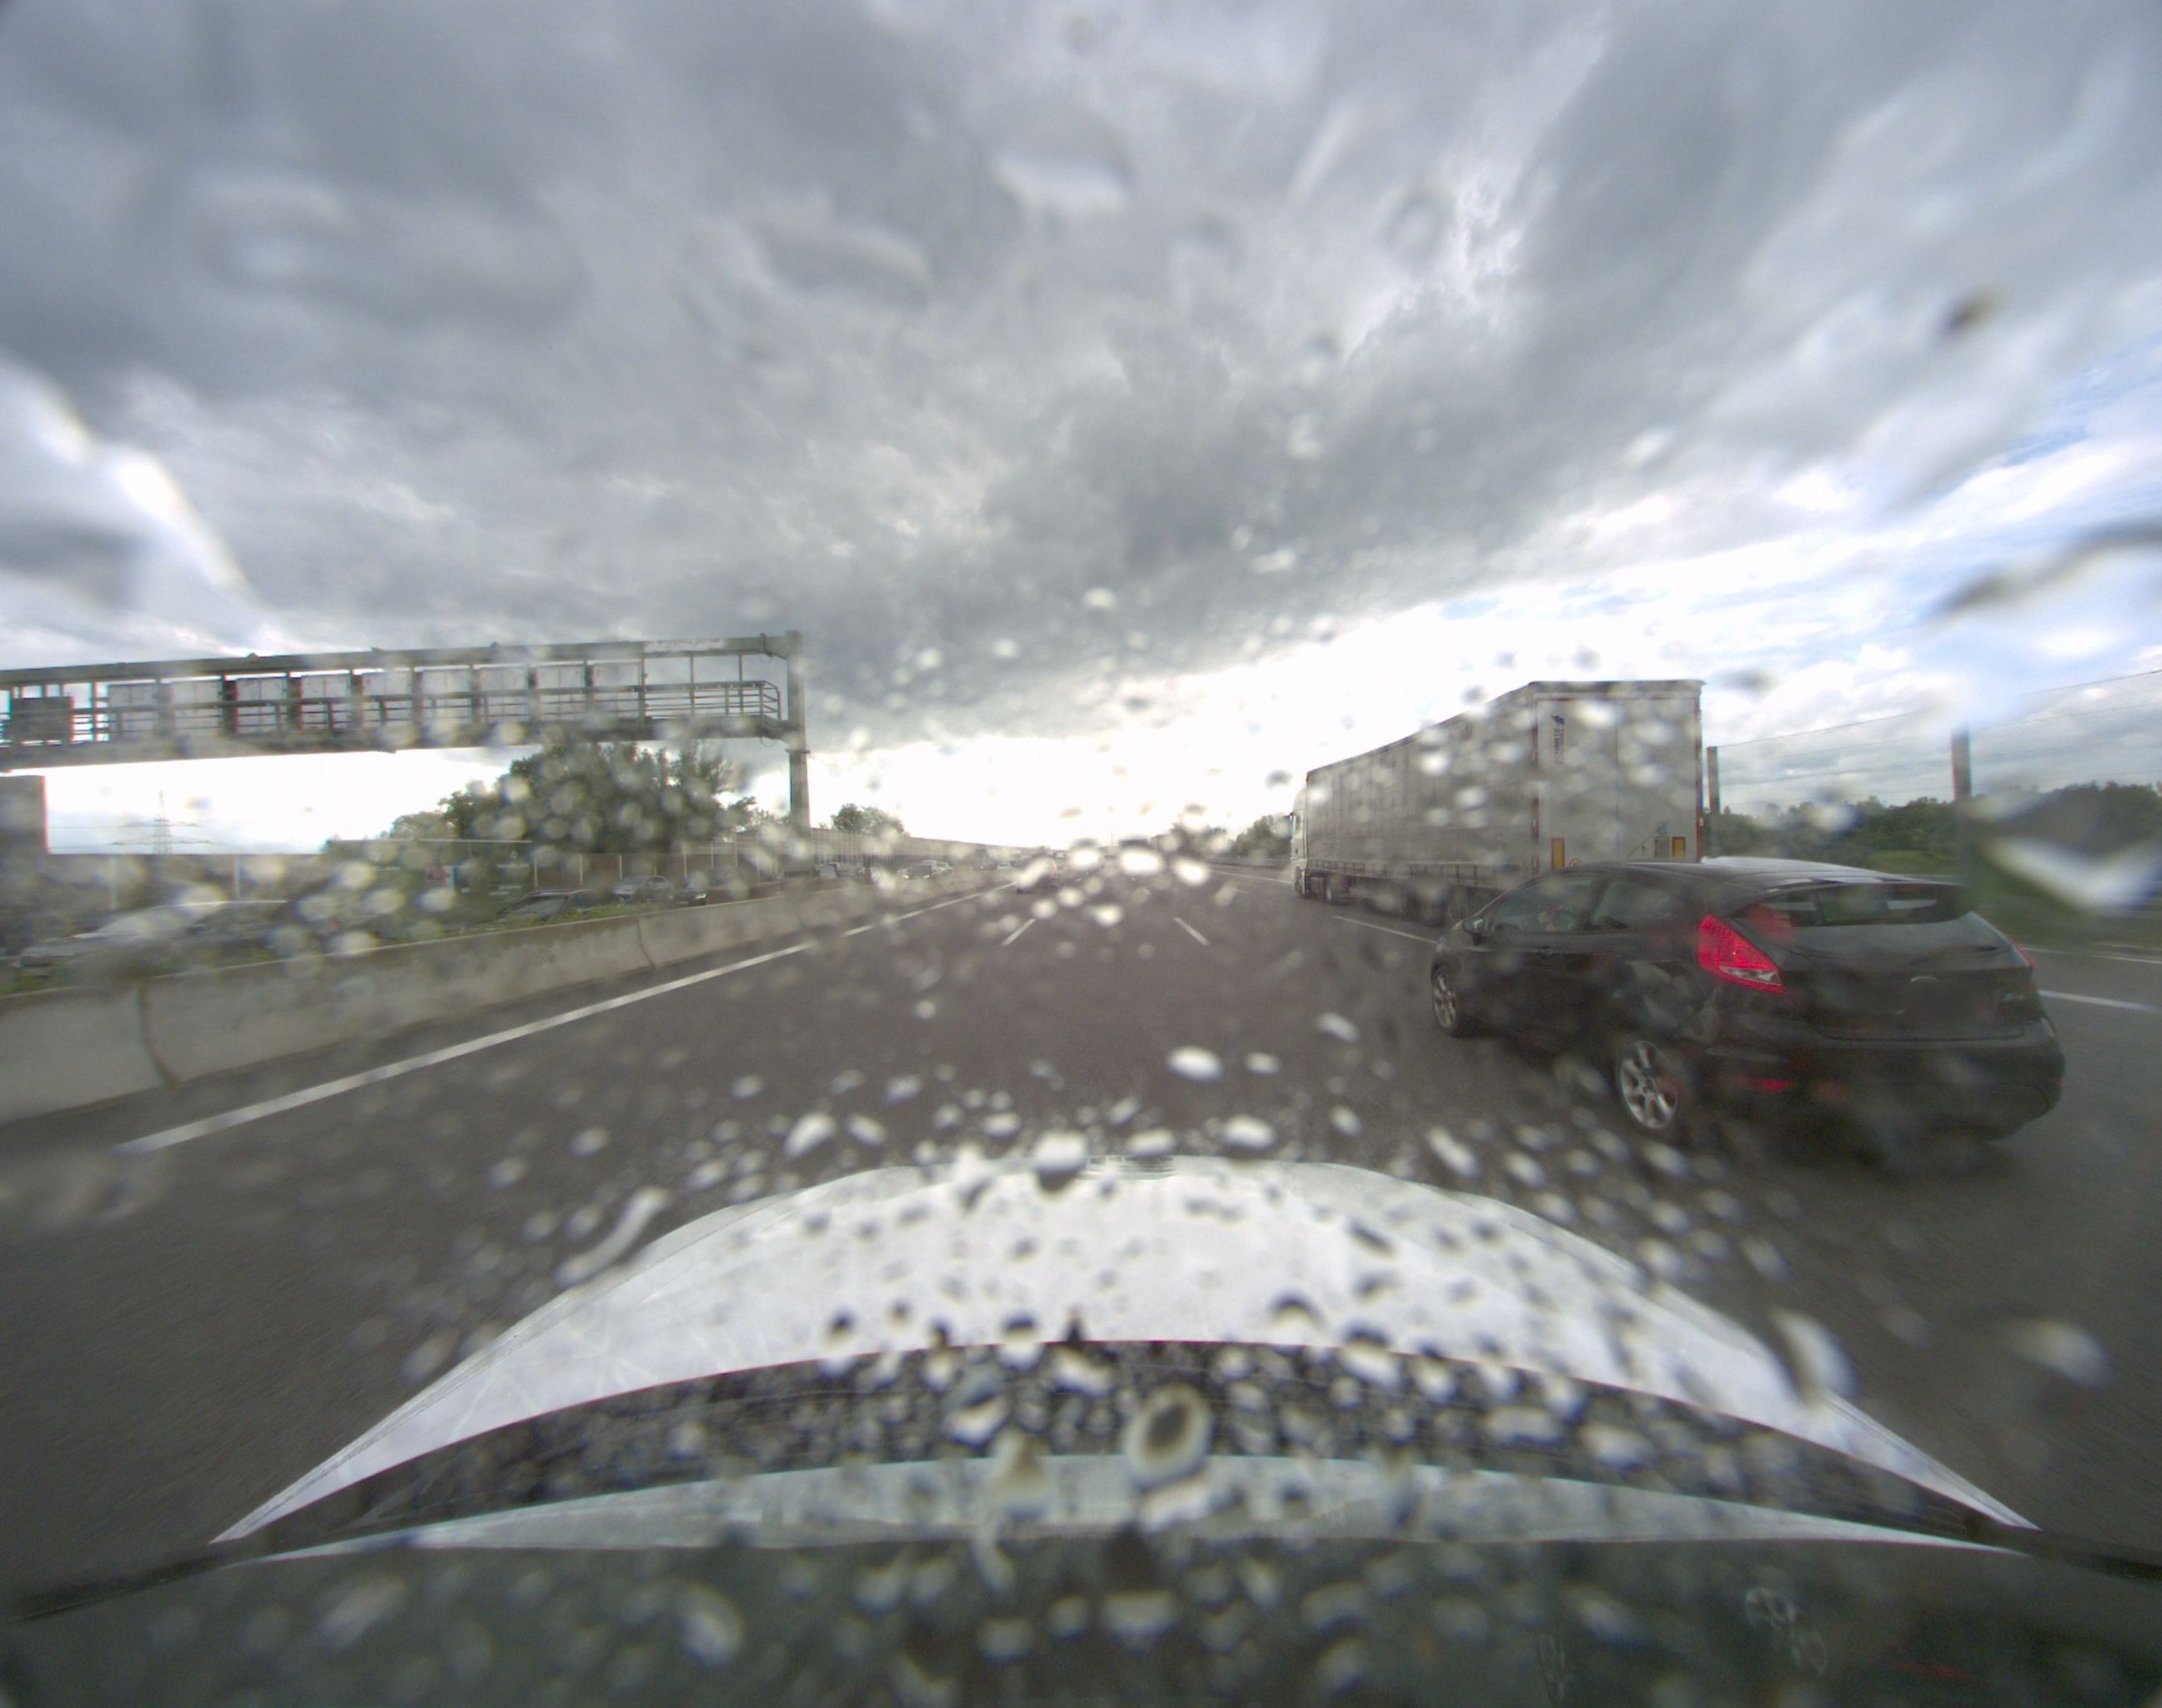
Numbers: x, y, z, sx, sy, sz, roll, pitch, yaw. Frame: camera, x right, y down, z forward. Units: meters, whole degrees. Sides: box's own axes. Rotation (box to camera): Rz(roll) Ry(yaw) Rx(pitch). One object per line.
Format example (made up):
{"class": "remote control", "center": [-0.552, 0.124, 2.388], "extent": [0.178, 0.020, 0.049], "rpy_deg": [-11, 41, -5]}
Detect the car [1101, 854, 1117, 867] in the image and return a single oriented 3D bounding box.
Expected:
{"class": "car", "center": [3.309, 0.759, 98.219], "extent": [1.767, 1.441, 4.054], "rpy_deg": [-1, 0, 0]}

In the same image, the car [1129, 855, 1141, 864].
{"class": "car", "center": [9.129, 0.852, 137.112], "extent": [1.829, 1.441, 4.056], "rpy_deg": [-1, 0, 1]}

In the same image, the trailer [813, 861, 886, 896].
{"class": "trailer", "center": [-12.946, 1.320, 45.941], "extent": [2.136, 1.709, 6.049], "rpy_deg": [-2, 0, 2]}

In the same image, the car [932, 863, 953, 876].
{"class": "car", "center": [-17.653, 1.956, 103.806], "extent": [1.740, 1.611, 4.180], "rpy_deg": [-2, 0, 3]}

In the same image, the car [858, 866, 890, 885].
{"class": "car", "center": [-18.999, 1.948, 74.977], "extent": [1.741, 1.630, 4.393], "rpy_deg": [-2, 0, 1]}

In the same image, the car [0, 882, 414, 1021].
{"class": "car", "center": [-17.664, 1.763, 16.813], "extent": [2.440, 2.051, 6.197], "rpy_deg": [-2, 0, 2]}

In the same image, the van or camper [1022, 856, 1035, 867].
{"class": "van or camper", "center": [-13.048, 1.927, 203.911], "extent": [2.335, 2.641, 7.154], "rpy_deg": [-2, 0, 3]}

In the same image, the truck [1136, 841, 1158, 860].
{"class": "truck", "center": [15.072, -0.731, 186.823], "extent": [4.228, 4.176, 11.992], "rpy_deg": [0, 0, 1]}

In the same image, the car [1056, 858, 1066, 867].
{"class": "car", "center": [-5.241, 2.247, 213.187], "extent": [2.151, 2.071, 6.018], "rpy_deg": [-2, 0, 3]}

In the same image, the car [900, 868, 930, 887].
{"class": "car", "center": [-15.384, 2.155, 75.663], "extent": [1.741, 1.630, 4.168], "rpy_deg": [-2, 0, 2]}

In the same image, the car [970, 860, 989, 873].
{"class": "car", "center": [-14.139, 1.764, 113.938], "extent": [1.927, 1.611, 4.180], "rpy_deg": [-2, 0, 3]}

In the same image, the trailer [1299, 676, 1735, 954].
{"class": "trailer", "center": [8.270, -0.614, 18.983], "extent": [2.950, 4.020, 14.124], "rpy_deg": [-1, 0, 2]}

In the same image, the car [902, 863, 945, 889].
{"class": "car", "center": [-11.808, 1.624, 61.366], "extent": [1.872, 1.744, 5.115], "rpy_deg": [-2, 0, 4]}

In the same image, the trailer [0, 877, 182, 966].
{"class": "trailer", "center": [-24.849, 1.553, 12.826], "extent": [2.742, 1.828, 16.358], "rpy_deg": [-2, 0, 2]}

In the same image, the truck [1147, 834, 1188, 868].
{"class": "truck", "center": [11.316, -0.367, 107.708], "extent": [4.166, 4.288, 12.613], "rpy_deg": [0, 0, 0]}

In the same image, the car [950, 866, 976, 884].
{"class": "car", "center": [-11.181, 1.964, 77.291], "extent": [1.740, 1.630, 3.750], "rpy_deg": [-2, 0, 2]}

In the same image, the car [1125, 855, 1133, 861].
{"class": "car", "center": [11.466, 0.936, 195.491], "extent": [1.829, 1.441, 4.056], "rpy_deg": [-1, 0, 1]}

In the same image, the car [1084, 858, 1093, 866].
{"class": "car", "center": [1.416, 1.555, 153.536], "extent": [1.767, 1.441, 3.873], "rpy_deg": [-1, 0, 0]}

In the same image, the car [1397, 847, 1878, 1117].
{"class": "car", "center": [3.639, 0.695, 6.017], "extent": [1.441, 1.441, 3.165], "rpy_deg": [-1, 0, 1]}

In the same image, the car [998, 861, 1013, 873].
{"class": "car", "center": [-10.063, 1.711, 108.866], "extent": [1.565, 1.394, 3.578], "rpy_deg": [-2, 0, 3]}

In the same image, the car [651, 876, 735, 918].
{"class": "car", "center": [-16.757, 1.816, 35.376], "extent": [1.676, 1.577, 3.876], "rpy_deg": [-2, 0, 1]}

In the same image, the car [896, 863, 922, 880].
{"class": "car", "center": [-18.762, 1.901, 88.828], "extent": [1.742, 1.630, 4.644], "rpy_deg": [-2, 0, 0]}

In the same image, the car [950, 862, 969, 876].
{"class": "car", "center": [-14.808, 1.801, 99.303], "extent": [1.614, 1.580, 3.621], "rpy_deg": [-2, 0, 3]}

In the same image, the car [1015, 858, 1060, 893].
{"class": "car", "center": [-1.867, 0.898, 36.144], "extent": [1.755, 1.369, 5.059], "rpy_deg": [-1, 0, 0]}

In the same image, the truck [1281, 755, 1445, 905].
{"class": "truck", "center": [8.444, -0.675, 25.362], "extent": [2.950, 4.020, 6.591], "rpy_deg": [-1, 0, 2]}

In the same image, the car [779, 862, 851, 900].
{"class": "car", "center": [-13.110, 1.290, 40.500], "extent": [1.809, 1.709, 4.809], "rpy_deg": [-2, 0, 2]}

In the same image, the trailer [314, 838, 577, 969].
{"class": "trailer", "center": [-17.433, 1.215, 22.959], "extent": [2.440, 3.138, 6.054], "rpy_deg": [-2, 0, 2]}
